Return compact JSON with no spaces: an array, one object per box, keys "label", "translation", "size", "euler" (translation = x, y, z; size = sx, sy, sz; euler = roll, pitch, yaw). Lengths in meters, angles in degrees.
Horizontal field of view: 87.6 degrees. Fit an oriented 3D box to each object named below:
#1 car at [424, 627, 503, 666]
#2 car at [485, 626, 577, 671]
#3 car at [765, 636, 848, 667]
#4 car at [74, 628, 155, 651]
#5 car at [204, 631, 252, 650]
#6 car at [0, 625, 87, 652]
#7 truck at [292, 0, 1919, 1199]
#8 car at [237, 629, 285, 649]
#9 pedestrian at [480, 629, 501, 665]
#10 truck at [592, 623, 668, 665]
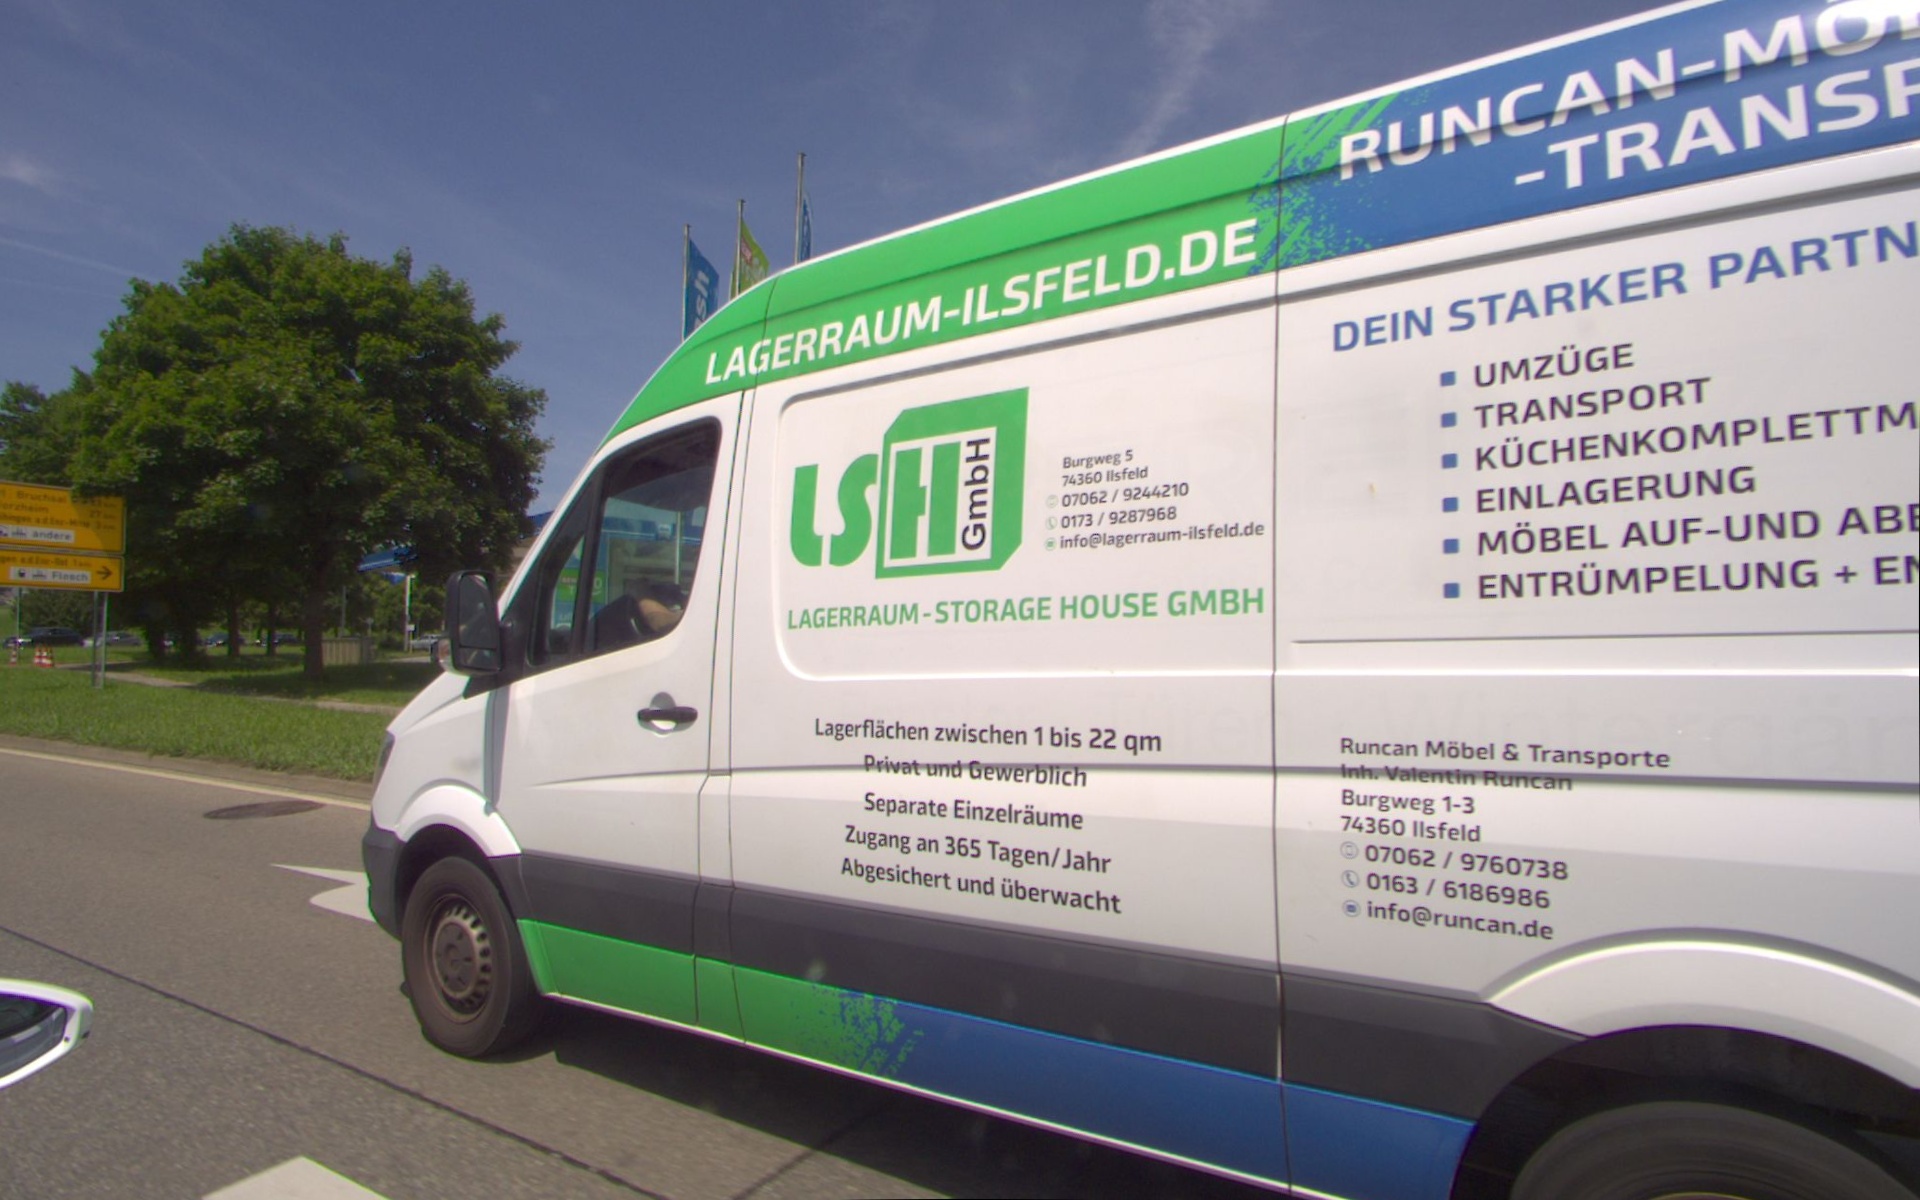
[{"label":"car","translation":[-22.318,2.064,44.904],"size":[2.017,1.623,4.899],"euler":[1,-2,-41]},{"label":"car","translation":[-16.617,1.843,38.656],"size":[1.979,1.642,4.591],"euler":[1,-2,-41]},{"label":"car","translation":[-7.333,2.450,47.810],"size":[3.958,1.380,1.889],"euler":[-3,-3,43]},{"label":"car","translation":[-57.751,2.738,68.526],"size":[1.766,1.529,4.565],"euler":[0,-3,-2]},{"label":"car","translation":[-59.762,3.306,81.795],"size":[1.769,1.529,4.228],"euler":[0,-3,-16]},{"label":"car","translation":[-57.182,2.436,62.325],"size":[1.766,1.528,4.567],"euler":[0,-4,-2]},{"label":"truck","translation":[0.412,0.138,3.235],"size":[5.858,2.772,2.063],"euler":[-1,-2,32]},{"label":"car","translation":[-61.793,3.456,88.632],"size":[1.963,1.719,4.289],"euler":[0,-2,-13]},{"label":"pedestrian","translation":[-20.187,2.022,43.018],"size":[0.660,1.516,0.716],"euler":[1,-2,-40]},{"label":"truck","translation":[-16.952,2.247,51.309],"size":[1.980,2.039,4.770],"euler":[1,-3,-42]}]
